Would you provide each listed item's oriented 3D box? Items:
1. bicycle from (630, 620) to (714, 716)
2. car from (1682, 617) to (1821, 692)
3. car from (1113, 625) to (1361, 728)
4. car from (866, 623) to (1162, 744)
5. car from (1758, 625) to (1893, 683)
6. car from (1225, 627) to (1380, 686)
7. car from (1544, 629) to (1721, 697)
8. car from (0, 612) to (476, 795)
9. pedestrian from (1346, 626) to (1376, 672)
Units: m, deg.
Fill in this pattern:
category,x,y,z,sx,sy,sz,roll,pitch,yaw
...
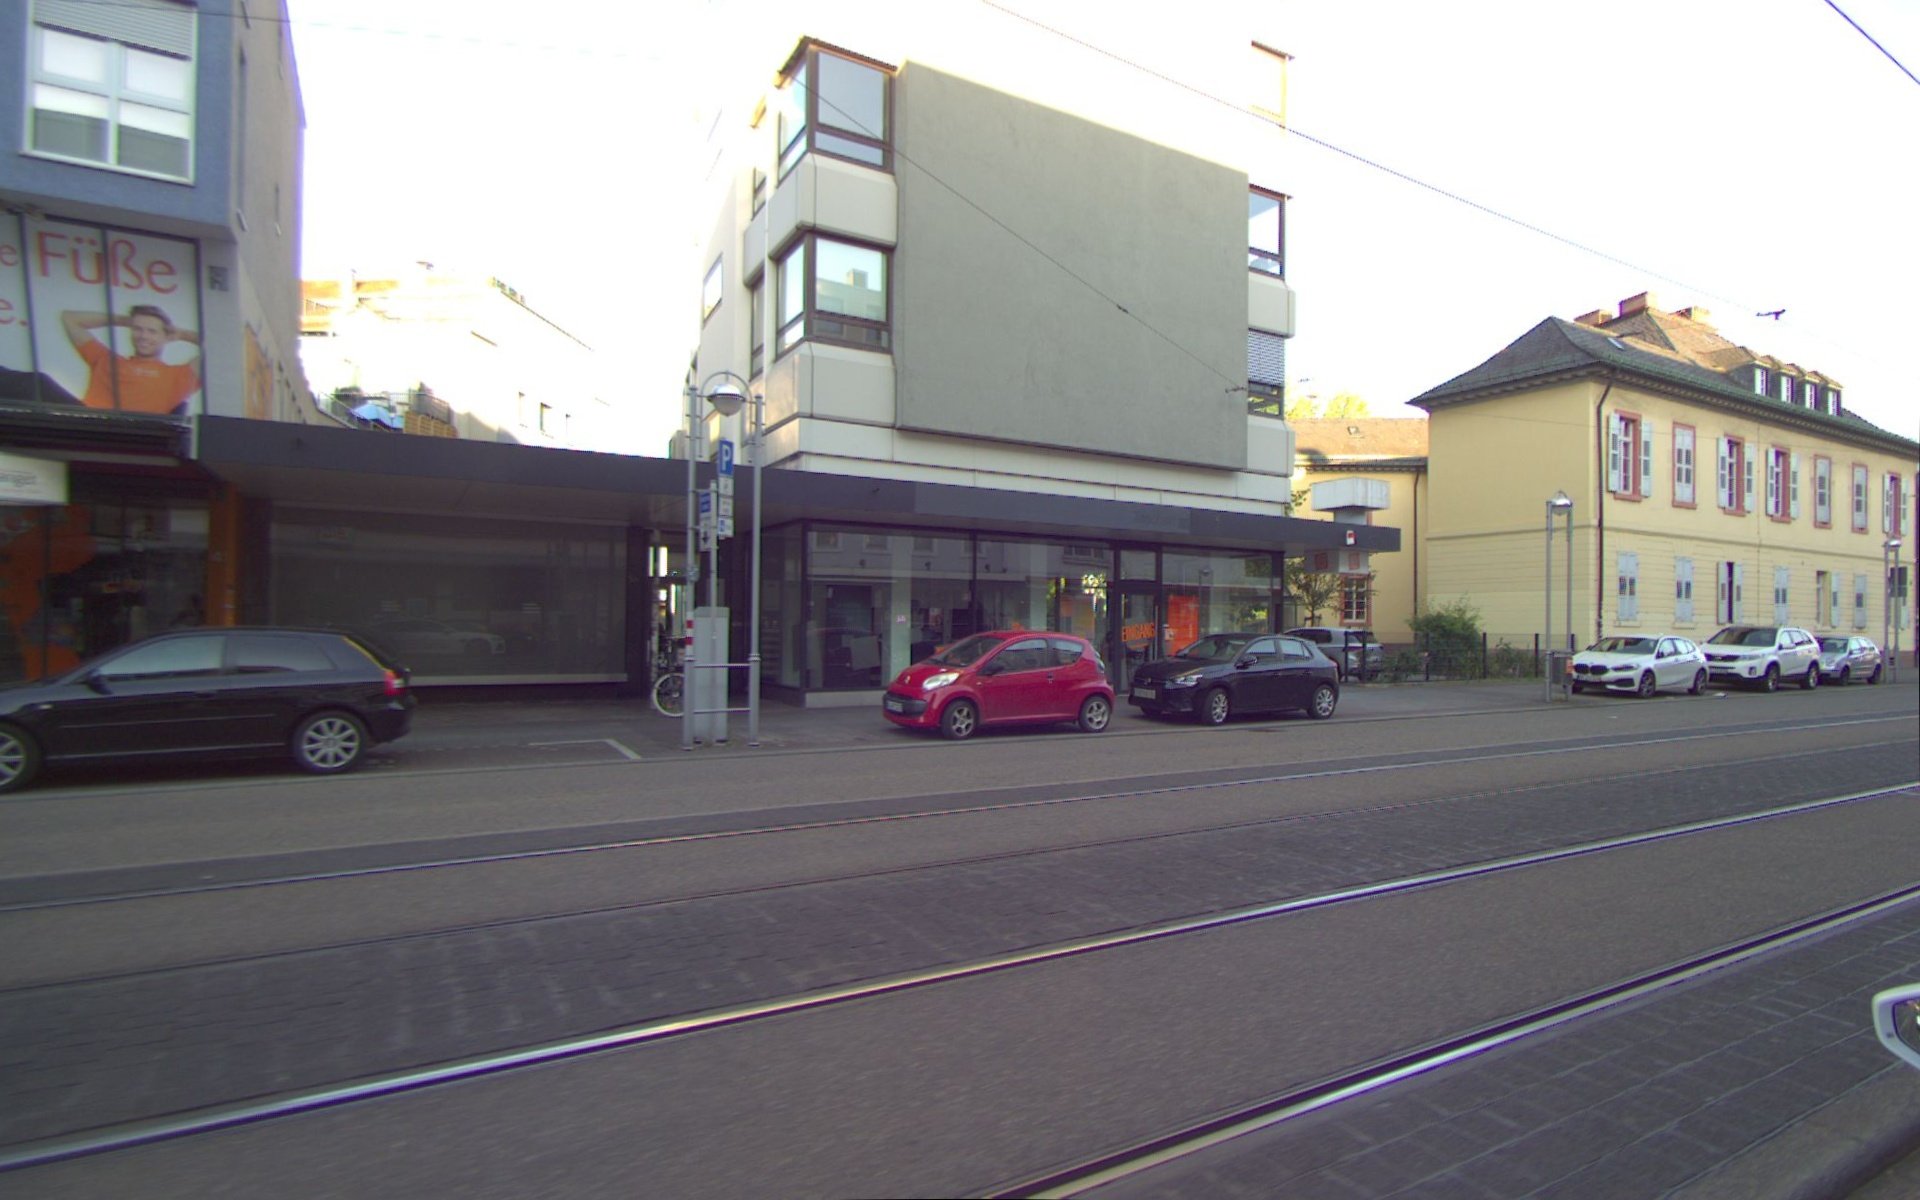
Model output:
category,x,y,z,sx,sy,sz,roll,pitch,yaw
bicycle,-4.688,1.061,16.258,0.825,1.444,1.958,1,-2,-31
car,21.641,1.445,27.404,4.454,1.809,1.800,1,1,-36
car,4.812,1.241,17.311,4.165,1.532,1.677,1,1,-30
car,0.853,1.148,14.947,4.165,1.532,1.677,1,0,-30
car,26.402,1.606,30.624,4.163,1.638,1.805,1,-2,-29
car,9.456,1.512,28.047,1.823,1.486,3.971,1,-2,-28
car,16.416,1.485,24.500,4.378,1.532,1.805,1,-2,-29
car,-7.361,0.921,10.062,4.395,1.532,1.677,1,0,-31
pedestrian,14.015,1.700,35.102,0.668,1.593,0.741,1,-1,-32
